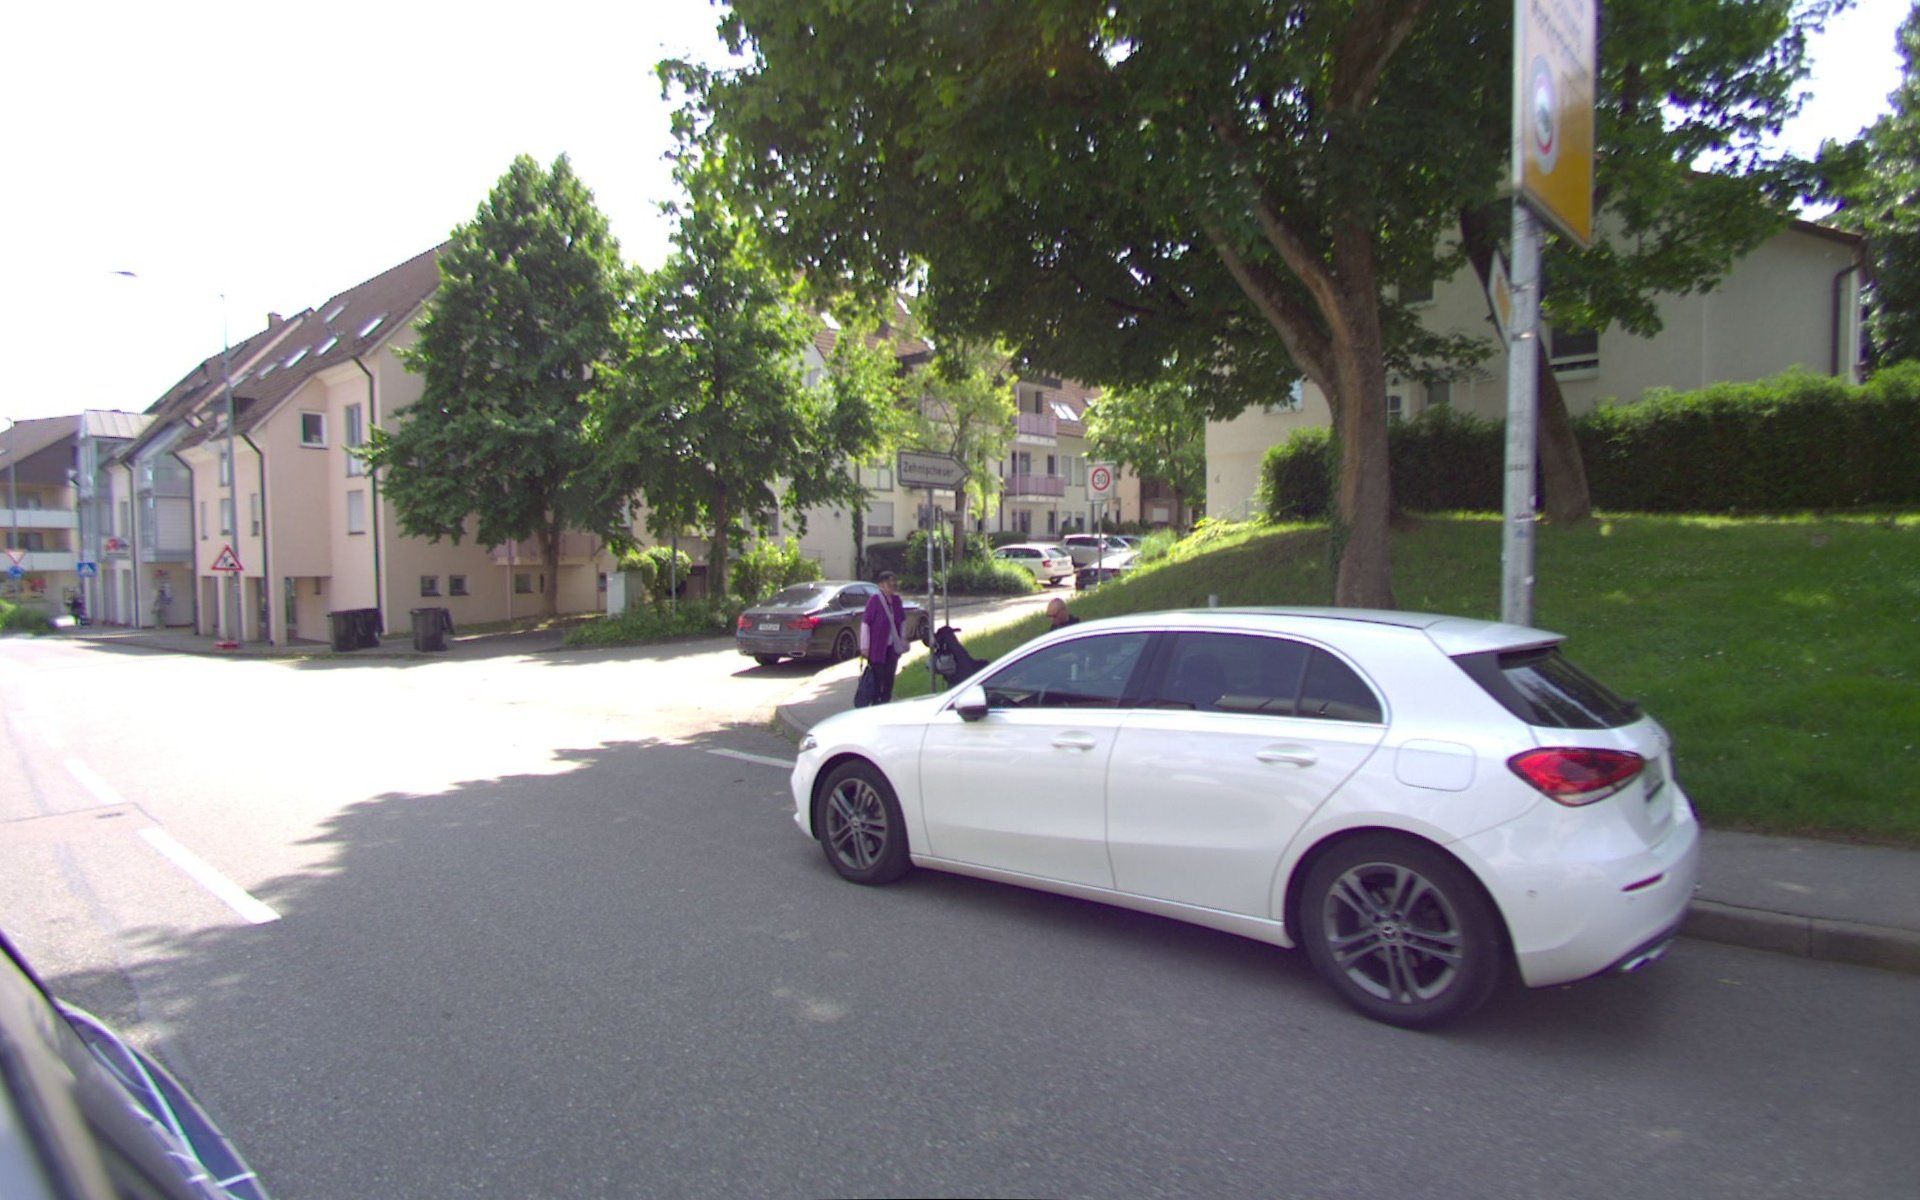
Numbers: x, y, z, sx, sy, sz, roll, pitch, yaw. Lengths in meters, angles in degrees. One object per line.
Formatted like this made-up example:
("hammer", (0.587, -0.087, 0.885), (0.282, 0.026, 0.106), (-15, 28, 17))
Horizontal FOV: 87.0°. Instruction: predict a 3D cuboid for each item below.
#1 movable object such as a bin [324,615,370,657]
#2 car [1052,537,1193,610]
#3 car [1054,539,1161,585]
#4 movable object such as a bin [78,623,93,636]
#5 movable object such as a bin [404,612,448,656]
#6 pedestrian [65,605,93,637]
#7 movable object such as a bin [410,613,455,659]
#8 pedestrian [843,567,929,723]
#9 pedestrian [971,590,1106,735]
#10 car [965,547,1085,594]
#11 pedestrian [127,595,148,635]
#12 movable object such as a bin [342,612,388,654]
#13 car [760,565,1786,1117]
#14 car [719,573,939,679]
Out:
("movable object such as a bin", (-15.761, 0.913, 26.038), (0.694, 1.008, 0.842), (0, 2, 45))
("car", (4.695, -0.780, 28.922), (3.942, 1.696, 1.910), (-8, 5, -44))
("car", (6.126, -1.559, 42.387), (4.001, 1.723, 1.972), (-1, 1, 43))
("movable object such as a bin", (-42.122, 1.415, 48.756), (0.468, 0.586, 0.453), (-1, 2, 39))
("movable object such as a bin", (-13.489, 0.846, 25.551), (0.609, 1.007, 0.763), (2, 7, 45))
("pedestrian", (-42.519, 0.987, 48.840), (0.956, 1.489, 0.792), (-1, 2, 38))
("movable object such as a bin", (-13.051, 0.881, 25.049), (0.763, 1.007, 0.609), (-8, 7, -44))
("pedestrian", (-0.797, 0.472, 11.073), (0.625, 1.628, 0.727), (-1, 2, 23))
("pedestrian", (0.788, 0.576, 9.993), (1.222, 1.278, 0.647), (-4, 3, -44))
("car", (2.405, -1.103, 37.854), (4.147, 1.579, 1.972), (-1, 1, 43))
("pedestrian", (-36.682, 0.650, 45.136), (0.580, 1.721, 0.569), (0, 3, 44))
("movable object such as a bin", (-15.677, 0.859, 26.666), (0.805, 1.007, 0.791), (0, 4, 45))
("car", (1.078, 0.680, 4.838), (4.362, 1.478, 1.736), (-1, -1, 42))
("car", (-2.325, 0.395, 19.427), (1.988, 1.490, 4.755), (-1, 4, 24))
